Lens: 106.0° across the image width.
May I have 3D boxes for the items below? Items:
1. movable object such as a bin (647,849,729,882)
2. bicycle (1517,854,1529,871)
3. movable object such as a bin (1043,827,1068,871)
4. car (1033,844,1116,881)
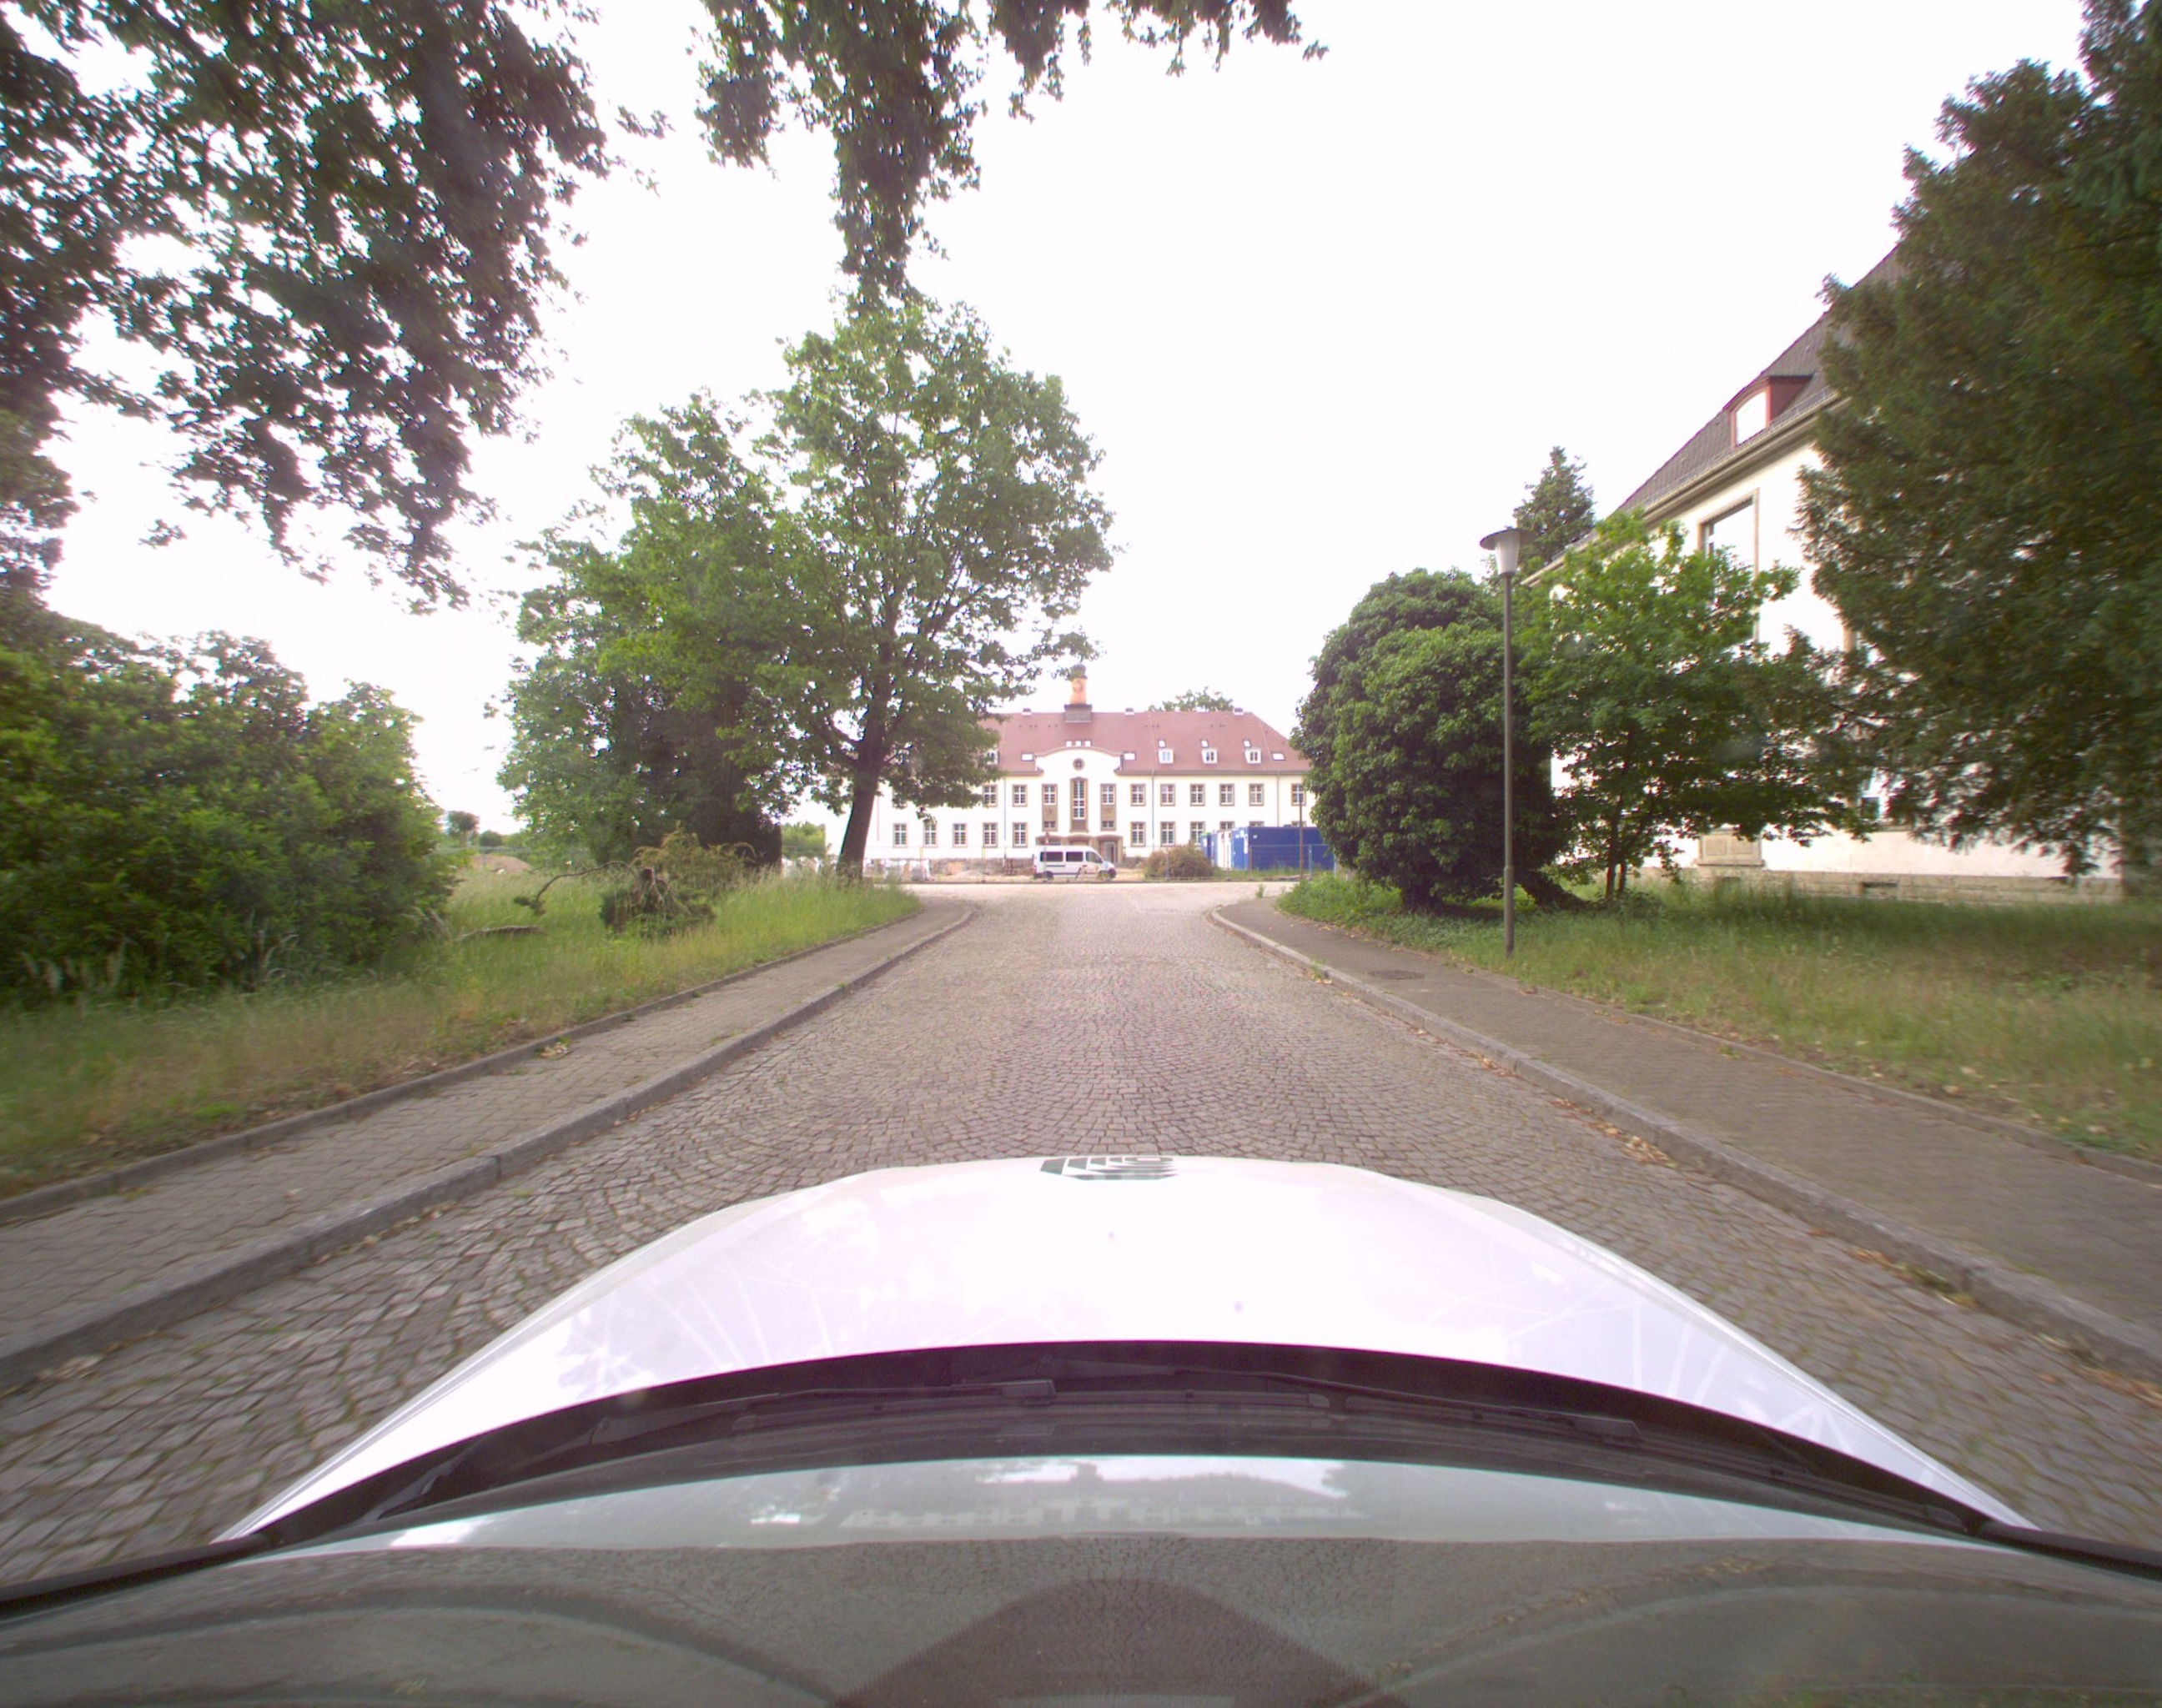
[{"bbox_3d":[-30.677,0.892,63.688,5.316,2.556,1.998,0,0,-3],"label":"movable object such as a bin"},{"bbox_3d":[30.154,0.579,55.565,0.509,1.167,1.814,-1,0,22],"label":"bicycle"},{"bbox_3d":[-2.302,-0.442,72.631,1.990,3.771,5.309,0,0,-4],"label":"movable object such as a bin"},{"bbox_3d":[-0.414,0.545,52.712,5.245,2.344,1.910,0,0,0],"label":"car"}]
